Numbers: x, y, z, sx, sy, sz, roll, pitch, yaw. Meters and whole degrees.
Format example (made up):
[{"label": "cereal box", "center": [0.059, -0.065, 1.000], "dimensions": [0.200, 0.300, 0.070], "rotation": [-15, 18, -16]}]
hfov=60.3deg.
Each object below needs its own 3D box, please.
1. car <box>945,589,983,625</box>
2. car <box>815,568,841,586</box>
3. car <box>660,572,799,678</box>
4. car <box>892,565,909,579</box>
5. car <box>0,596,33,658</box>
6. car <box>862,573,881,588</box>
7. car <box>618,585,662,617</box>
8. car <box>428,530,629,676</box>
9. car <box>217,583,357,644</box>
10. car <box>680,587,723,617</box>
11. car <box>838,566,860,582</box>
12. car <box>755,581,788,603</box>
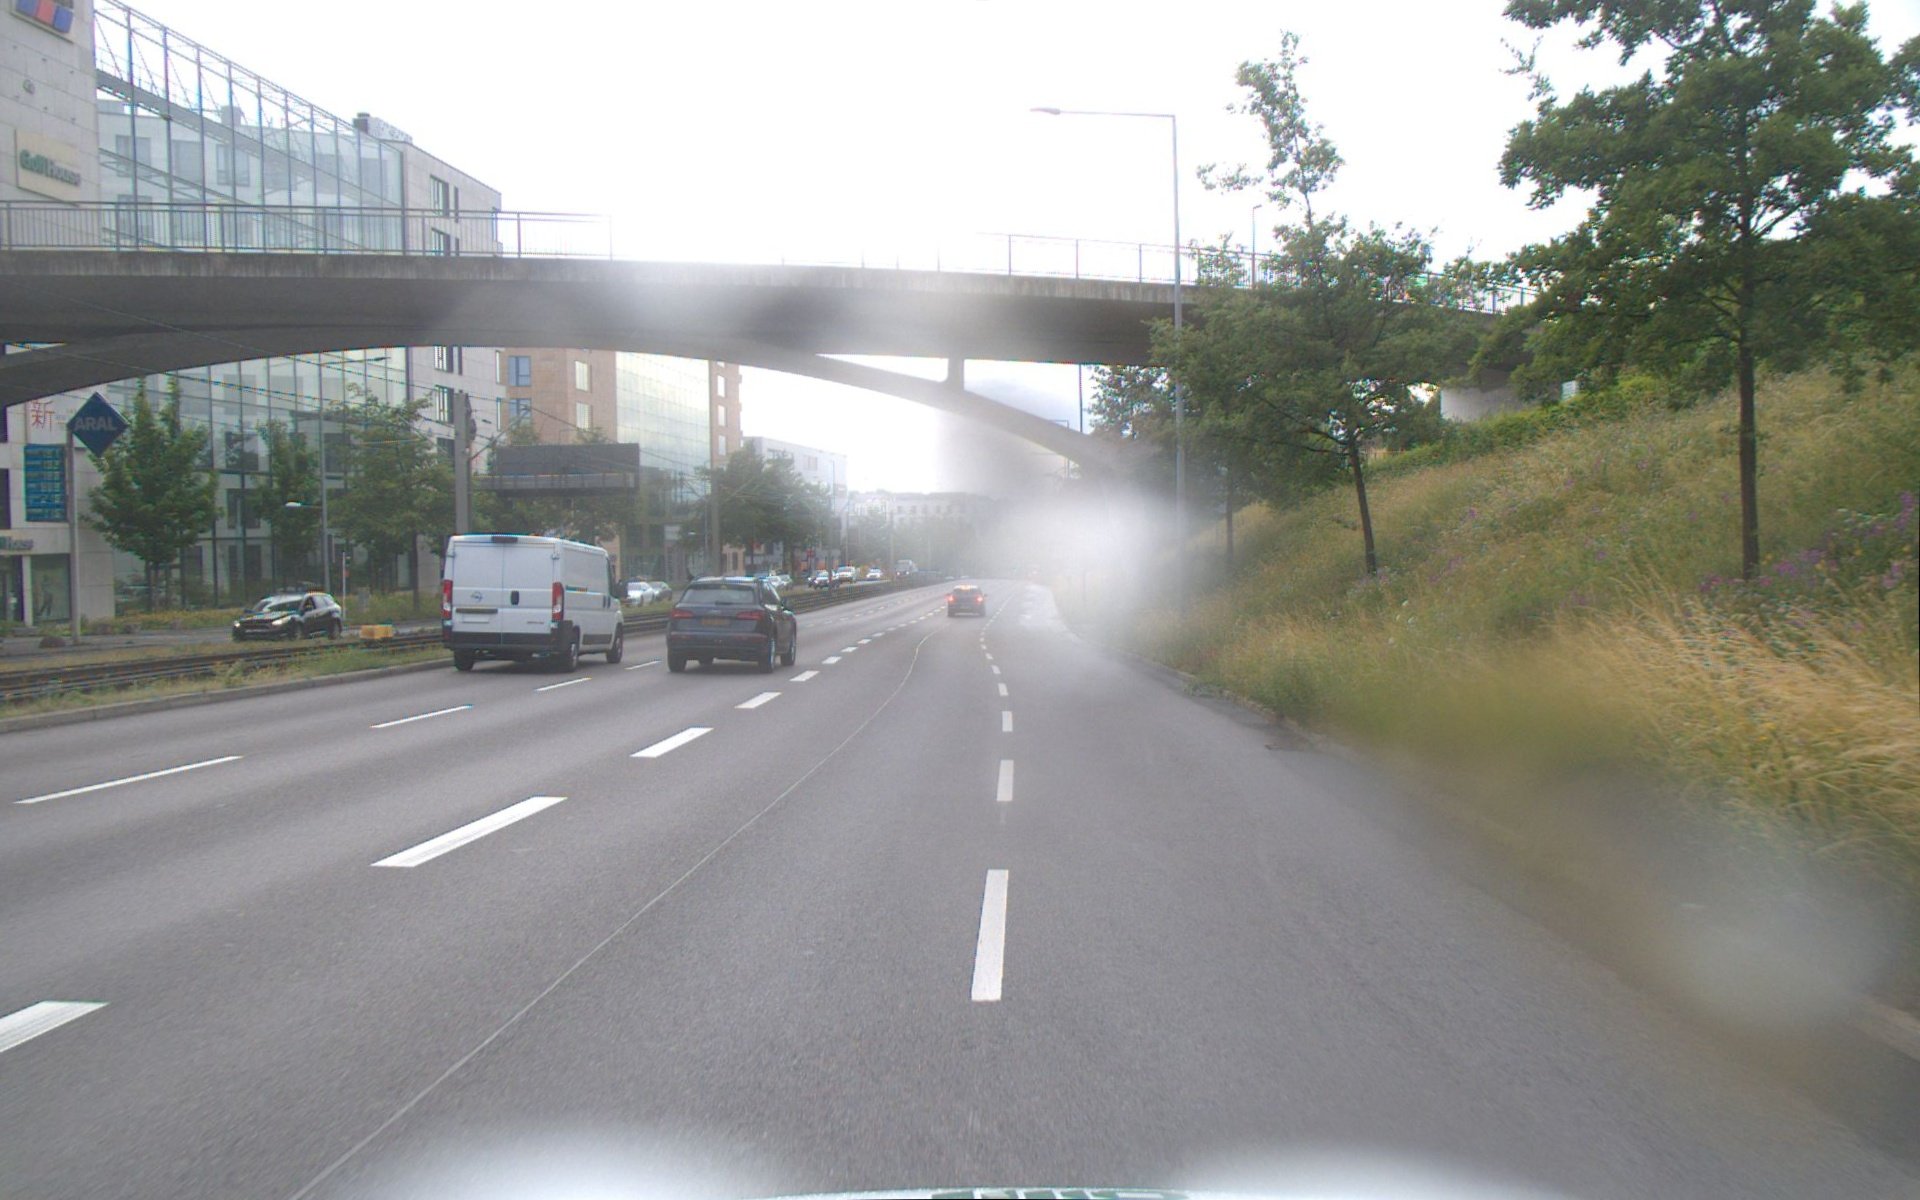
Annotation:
[{"label": "car", "center": [0.194, 0.337, 79.790], "dimensions": [1.752, 1.619, 4.000], "rotation": [1, 0, 0]}, {"label": "car", "center": [-12.408, -2.194, 155.946], "dimensions": [1.772, 1.560, 4.872], "rotation": [1, 1, 4]}, {"label": "car", "center": [-4.080, 0.391, 29.858], "dimensions": [1.883, 1.740, 4.098], "rotation": [1, 1, 0]}, {"label": "car", "center": [-8.111, -3.827, 225.948], "dimensions": [1.897, 1.792, 4.812], "rotation": [1, 1, 4]}, {"label": "car", "center": [-25.746, 0.720, 41.693], "dimensions": [2.005, 1.565, 4.760], "rotation": [1, 1, 1]}, {"label": "car", "center": [-11.691, -2.568, 218.113], "dimensions": [1.897, 1.792, 4.812], "rotation": [1, 1, 4]}, {"label": "car", "center": [-19.890, 0.042, 102.879], "dimensions": [1.881, 1.807, 4.135], "rotation": [1, 1, 0]}, {"label": "car", "center": [-7.454, -0.002, 29.133], "dimensions": [2.221, 2.324, 4.760], "rotation": [1, 1, 1]}, {"label": "car", "center": [-19.189, 0.342, 47.389], "dimensions": [2.005, 1.565, 4.760], "rotation": [1, 1, 1]}, {"label": "car", "center": [-16.877, 0.110, 108.173], "dimensions": [1.880, 1.807, 4.227], "rotation": [1, 1, 3]}, {"label": "car", "center": [-12.717, -2.986, 190.039], "dimensions": [1.897, 1.792, 5.065], "rotation": [1, 1, 4]}, {"label": "car", "center": [-14.808, -0.657, 130.071], "dimensions": [1.727, 1.625, 4.794], "rotation": [1, 1, 4]}]
